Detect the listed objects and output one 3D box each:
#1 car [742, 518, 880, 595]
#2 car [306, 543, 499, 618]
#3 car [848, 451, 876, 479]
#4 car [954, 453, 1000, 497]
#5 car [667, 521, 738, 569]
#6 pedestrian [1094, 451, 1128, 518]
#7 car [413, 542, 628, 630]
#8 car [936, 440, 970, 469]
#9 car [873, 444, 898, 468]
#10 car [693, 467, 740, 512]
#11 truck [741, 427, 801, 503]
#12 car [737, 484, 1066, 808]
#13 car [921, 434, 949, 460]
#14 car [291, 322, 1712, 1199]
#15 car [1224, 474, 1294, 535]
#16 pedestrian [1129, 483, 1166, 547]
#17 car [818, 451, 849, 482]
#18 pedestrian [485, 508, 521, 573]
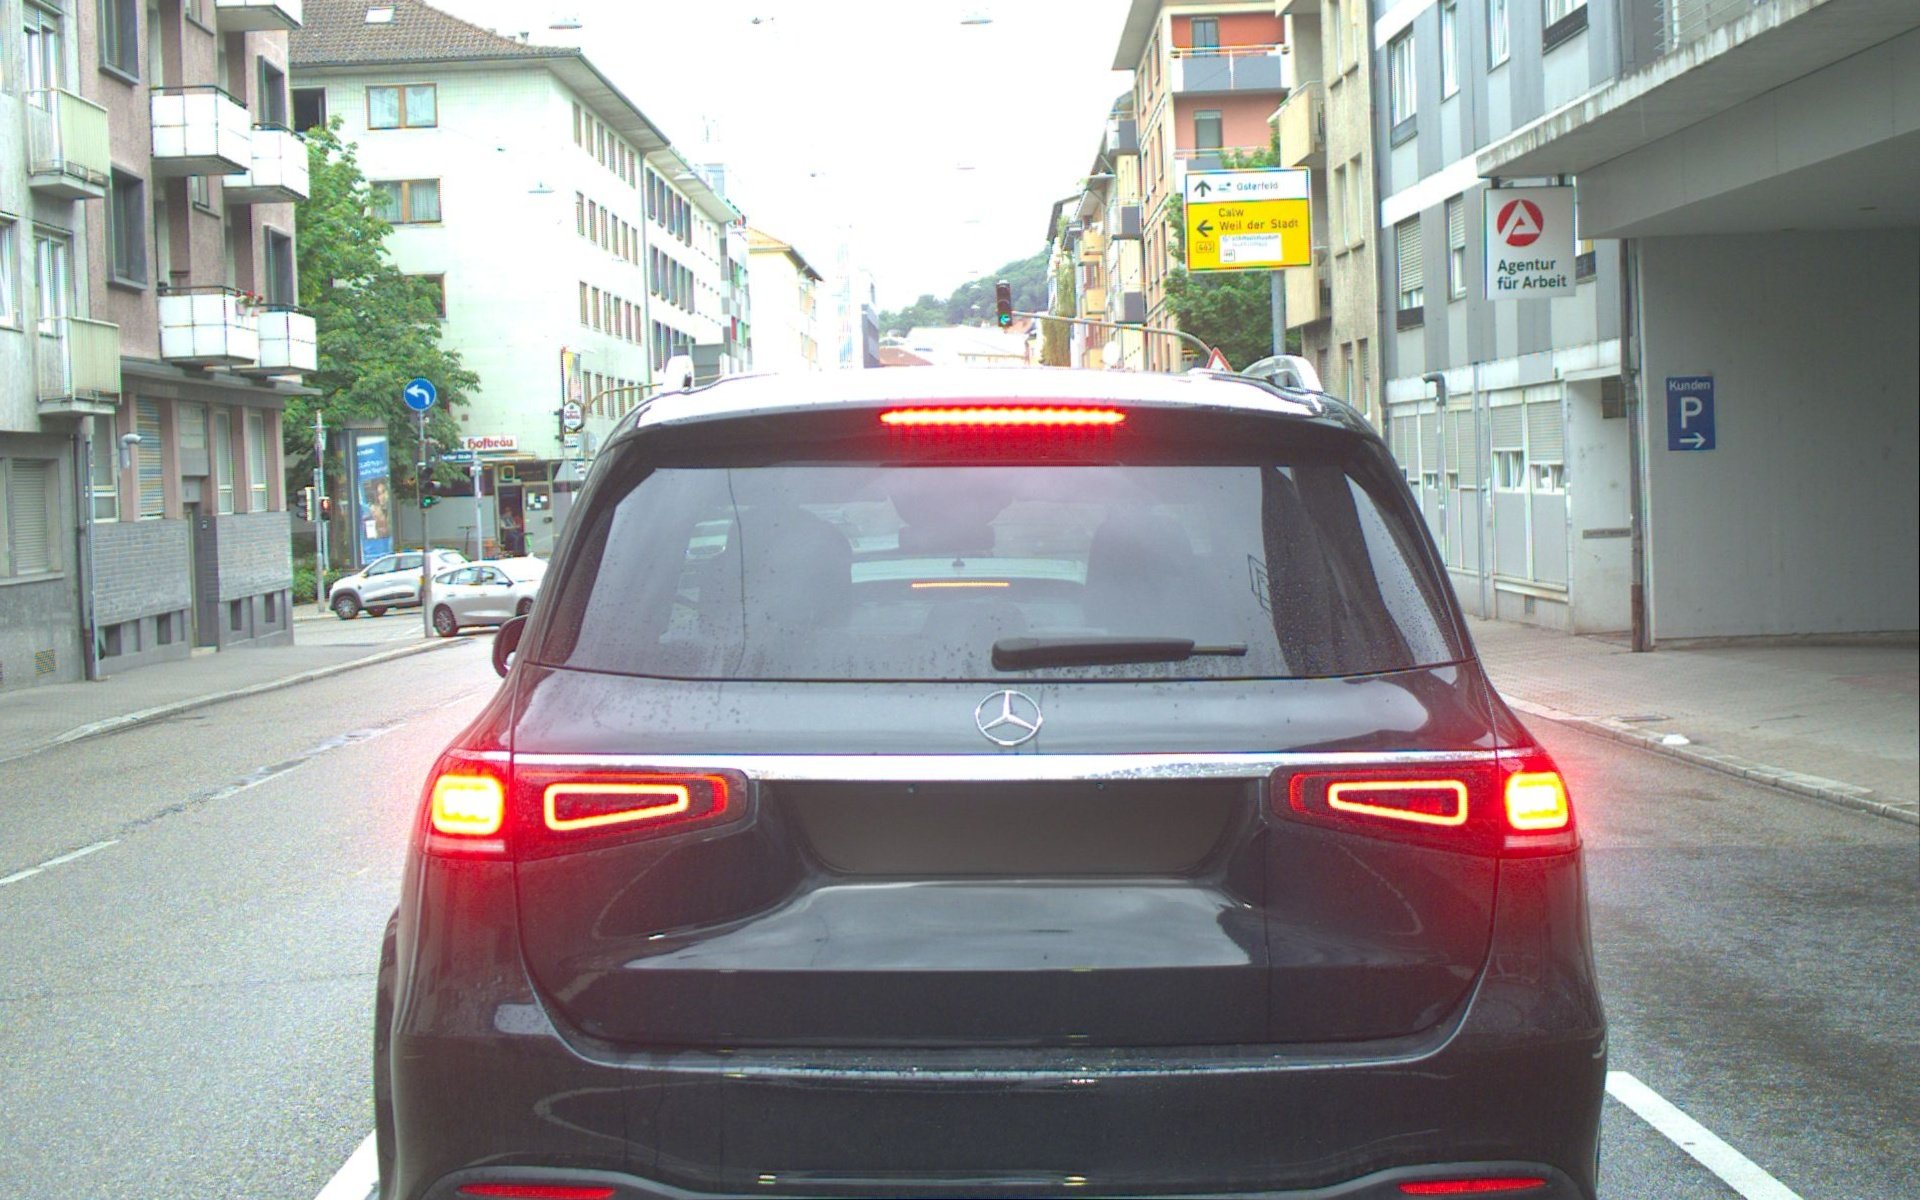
[{"bbox_3d":[-3.325,-0.939,75.851,1.814,1.534,4.219,-4,1,-19],"label":"car"},{"bbox_3d":[-13.358,-0.464,82.405,4.208,1.534,1.622,-3,1,19],"label":"car"},{"bbox_3d":[-6.241,-8.611,219.232,1.618,1.534,4.218,-3,1,-3],"label":"car"},{"bbox_3d":[0.738,-5.504,151.680,1.723,1.753,4.218,-3,1,-3],"label":"car"},{"bbox_3d":[-7.524,-1.606,100.775,1.885,1.260,4.218,-3,1,-3],"label":"car"},{"bbox_3d":[4.634,-3.530,105.445,0.923,2.007,0.706,-2,1,-2],"label":"pedestrian"},{"bbox_3d":[-8.891,-0.269,69.381,4.354,1.534,1.774,-3,1,41],"label":"car"},{"bbox_3d":[-0.381,-7.940,188.055,1.618,1.382,4.218,-3,1,-3],"label":"car"},{"bbox_3d":[-5.452,-10.468,250.161,1.618,1.534,4.218,-3,1,-3],"label":"car"},{"bbox_3d":[-9.321,-4.204,131.603,1.618,1.534,4.218,-3,1,-3],"label":"car"},{"bbox_3d":[-8.615,-6.100,157.020,2.479,3.035,9.921,-3,1,-3],"label":"truck"},{"bbox_3d":[-0.420,0.231,20.849,1.751,1.725,4.218,-1,1,-3],"label":"car"},{"bbox_3d":[-1.735,-10.548,237.443,1.618,1.534,4.218,-3,1,-3],"label":"car"},{"bbox_3d":[0.030,0.500,7.036,1.985,1.799,4.390,1,1,-1],"label":"car"},{"bbox_3d":[8.223,-2.637,94.622,1.671,1.583,3.330,-2,1,2],"label":"car"},{"bbox_3d":[5.420,-2.463,99.392,0.923,1.798,0.706,-2,1,-2],"label":"pedestrian"},{"bbox_3d":[-7.148,-7.492,193.648,1.618,1.534,4.218,-3,1,-3],"label":"car"},{"bbox_3d":[-13.542,-1.777,101.975,0.923,1.895,0.706,-2,1,-2],"label":"pedestrian"}]
